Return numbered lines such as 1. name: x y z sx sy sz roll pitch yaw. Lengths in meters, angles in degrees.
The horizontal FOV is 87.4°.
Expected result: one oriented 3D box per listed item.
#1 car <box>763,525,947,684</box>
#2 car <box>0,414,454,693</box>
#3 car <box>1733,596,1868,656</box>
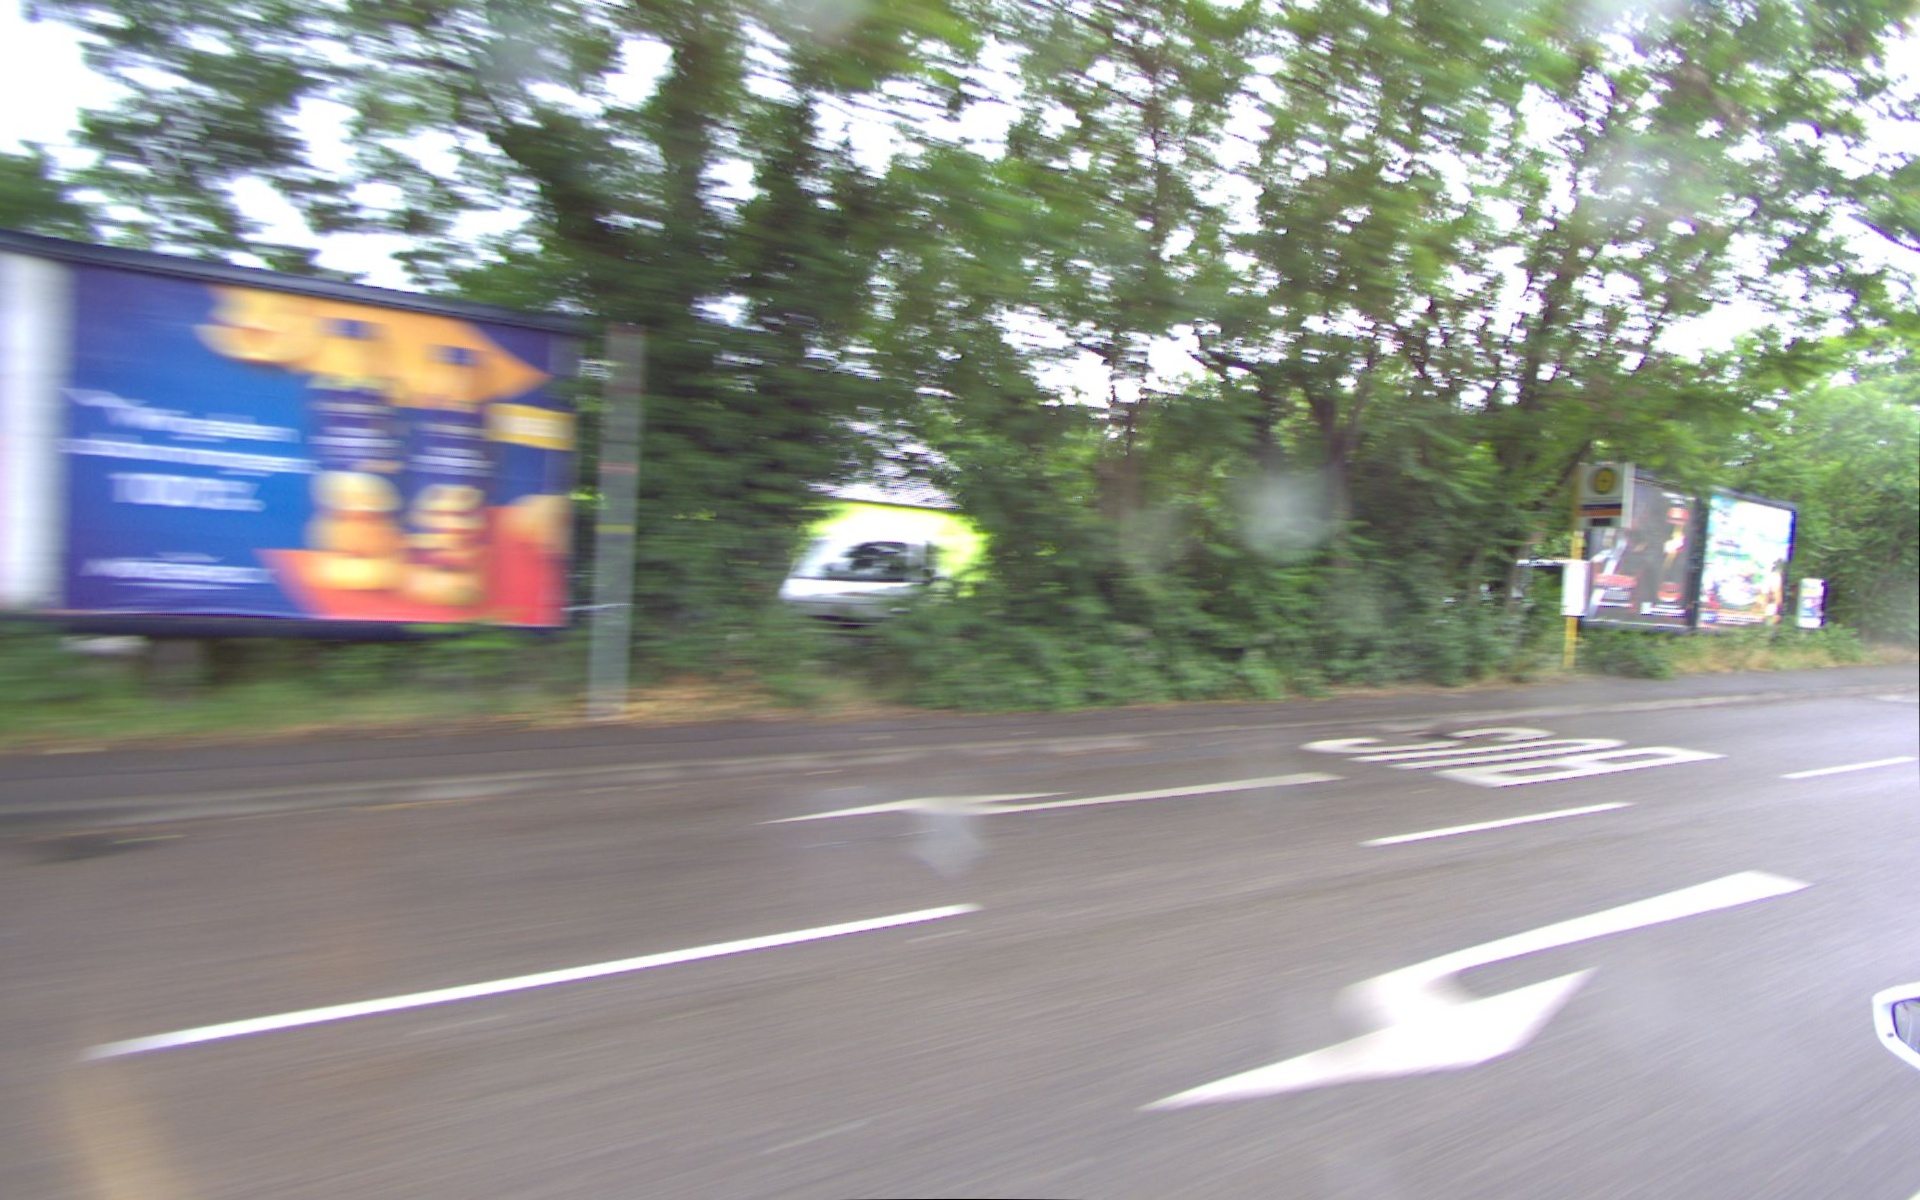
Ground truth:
1. car: -1.378 -0.041 14.862 1.960 1.963 4.001 2 3 4
2. car: -8.885 -0.518 11.158 2.076 2.567 5.592 4 3 31
3. car: 24.180 0.740 28.877 3.954 1.515 1.693 1 3 -31
